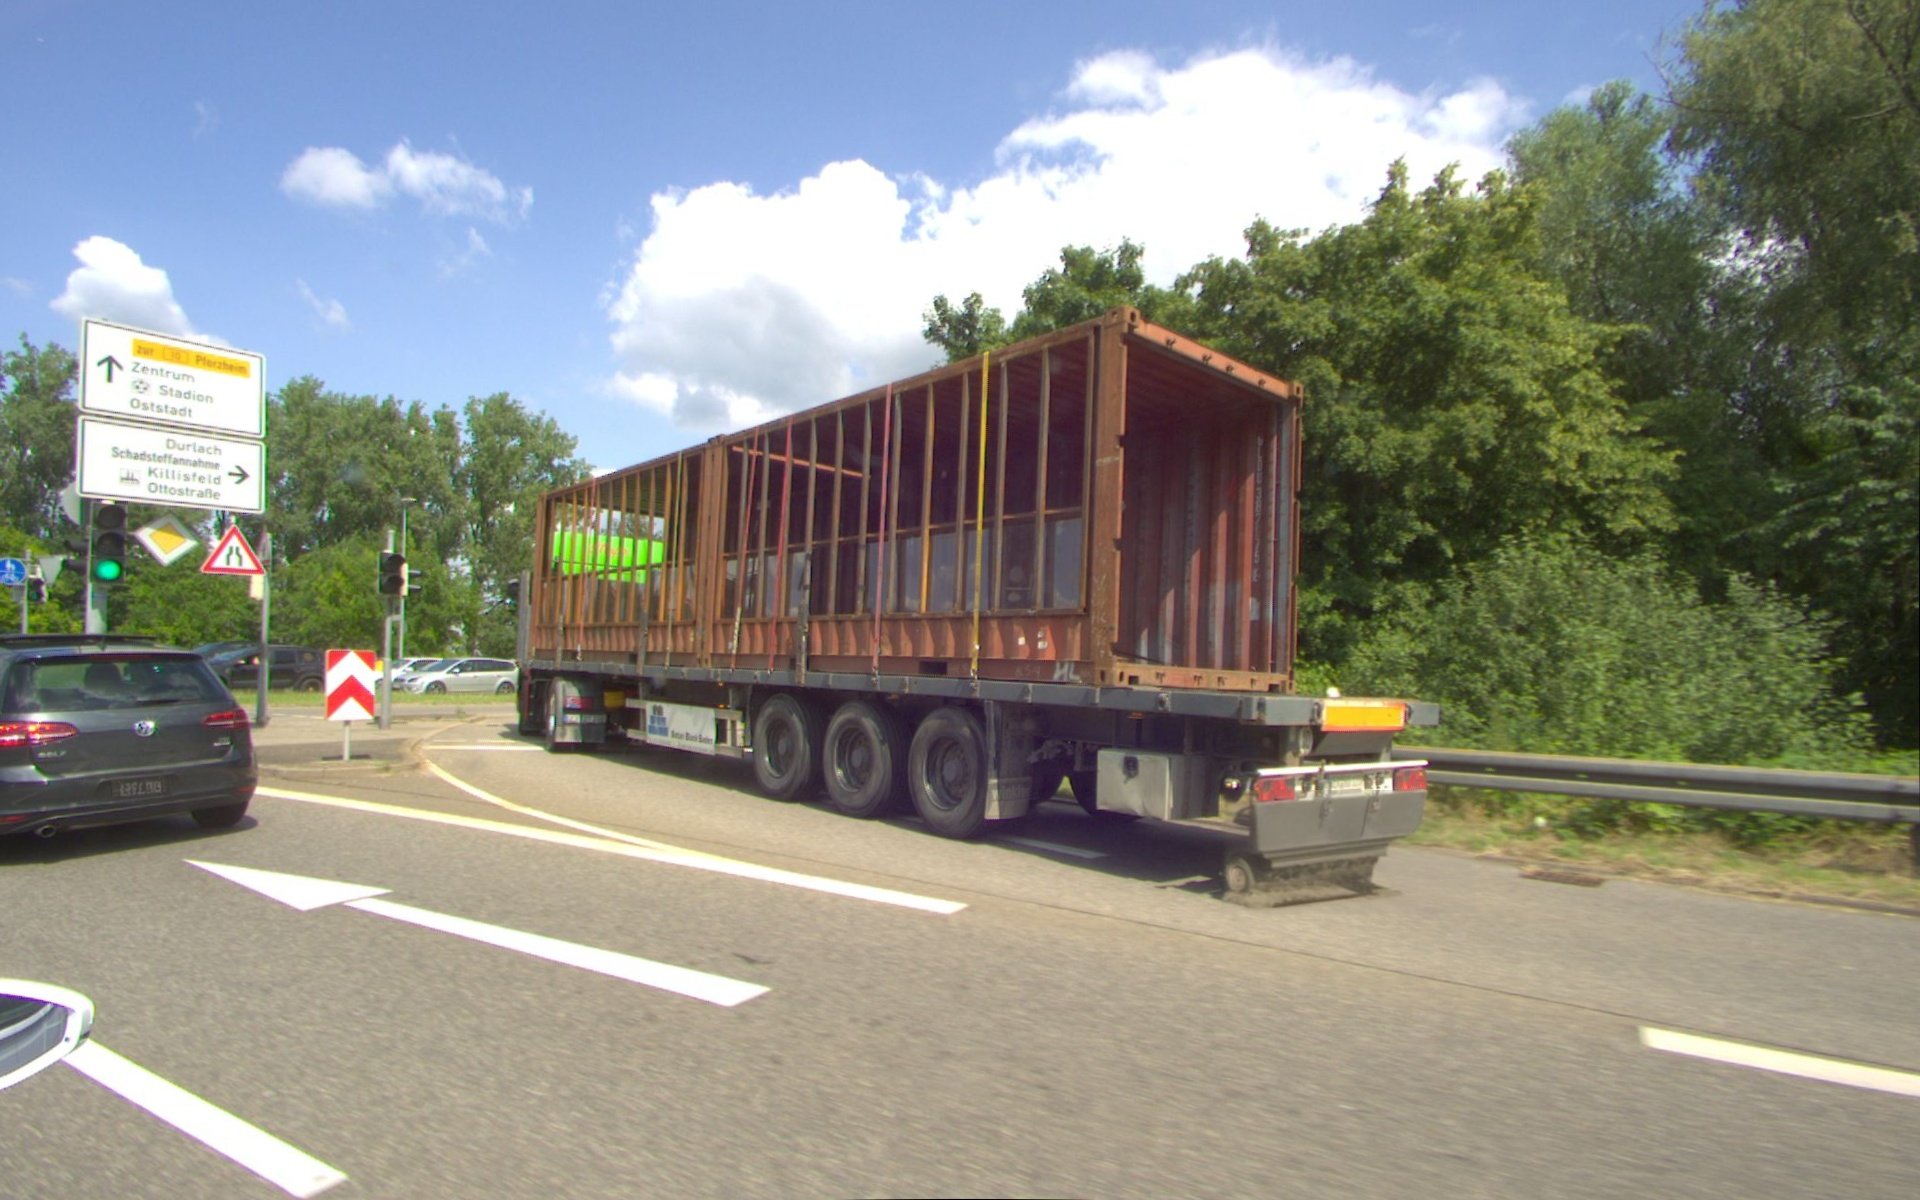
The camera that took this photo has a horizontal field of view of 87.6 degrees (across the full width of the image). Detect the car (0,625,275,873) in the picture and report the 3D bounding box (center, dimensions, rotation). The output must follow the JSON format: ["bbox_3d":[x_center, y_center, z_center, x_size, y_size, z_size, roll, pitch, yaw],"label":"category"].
[{"bbox_3d":[-7.131,0.964,7.609,3.813,1.497,1.641,-1,-3,29],"label":"car"}]

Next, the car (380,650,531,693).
[{"bbox_3d":[-17.567,2.533,35.076,1.622,1.392,4.526,0,-4,31],"label":"car"}]

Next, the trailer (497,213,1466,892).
[{"bbox_3d":[-1.722,0.071,11.768,2.622,3.937,13.726,6,-6,-42],"label":"trailer"}]

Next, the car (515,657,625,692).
[{"bbox_3d":[-16.710,3.232,43.111,1.676,1.392,4.200,0,-4,31],"label":"car"}]

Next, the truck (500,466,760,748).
[{"bbox_3d":[-5.891,0.356,17.246,2.840,3.949,5.849,5,-5,-31],"label":"truck"}]

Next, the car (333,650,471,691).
[{"bbox_3d":[-20.691,2.664,37.281,1.622,1.392,4.200,0,-4,31],"label":"car"}]

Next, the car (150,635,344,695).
[{"bbox_3d":[-20.970,1.968,29.641,1.818,1.636,4.279,-2,-5,31],"label":"car"}]
